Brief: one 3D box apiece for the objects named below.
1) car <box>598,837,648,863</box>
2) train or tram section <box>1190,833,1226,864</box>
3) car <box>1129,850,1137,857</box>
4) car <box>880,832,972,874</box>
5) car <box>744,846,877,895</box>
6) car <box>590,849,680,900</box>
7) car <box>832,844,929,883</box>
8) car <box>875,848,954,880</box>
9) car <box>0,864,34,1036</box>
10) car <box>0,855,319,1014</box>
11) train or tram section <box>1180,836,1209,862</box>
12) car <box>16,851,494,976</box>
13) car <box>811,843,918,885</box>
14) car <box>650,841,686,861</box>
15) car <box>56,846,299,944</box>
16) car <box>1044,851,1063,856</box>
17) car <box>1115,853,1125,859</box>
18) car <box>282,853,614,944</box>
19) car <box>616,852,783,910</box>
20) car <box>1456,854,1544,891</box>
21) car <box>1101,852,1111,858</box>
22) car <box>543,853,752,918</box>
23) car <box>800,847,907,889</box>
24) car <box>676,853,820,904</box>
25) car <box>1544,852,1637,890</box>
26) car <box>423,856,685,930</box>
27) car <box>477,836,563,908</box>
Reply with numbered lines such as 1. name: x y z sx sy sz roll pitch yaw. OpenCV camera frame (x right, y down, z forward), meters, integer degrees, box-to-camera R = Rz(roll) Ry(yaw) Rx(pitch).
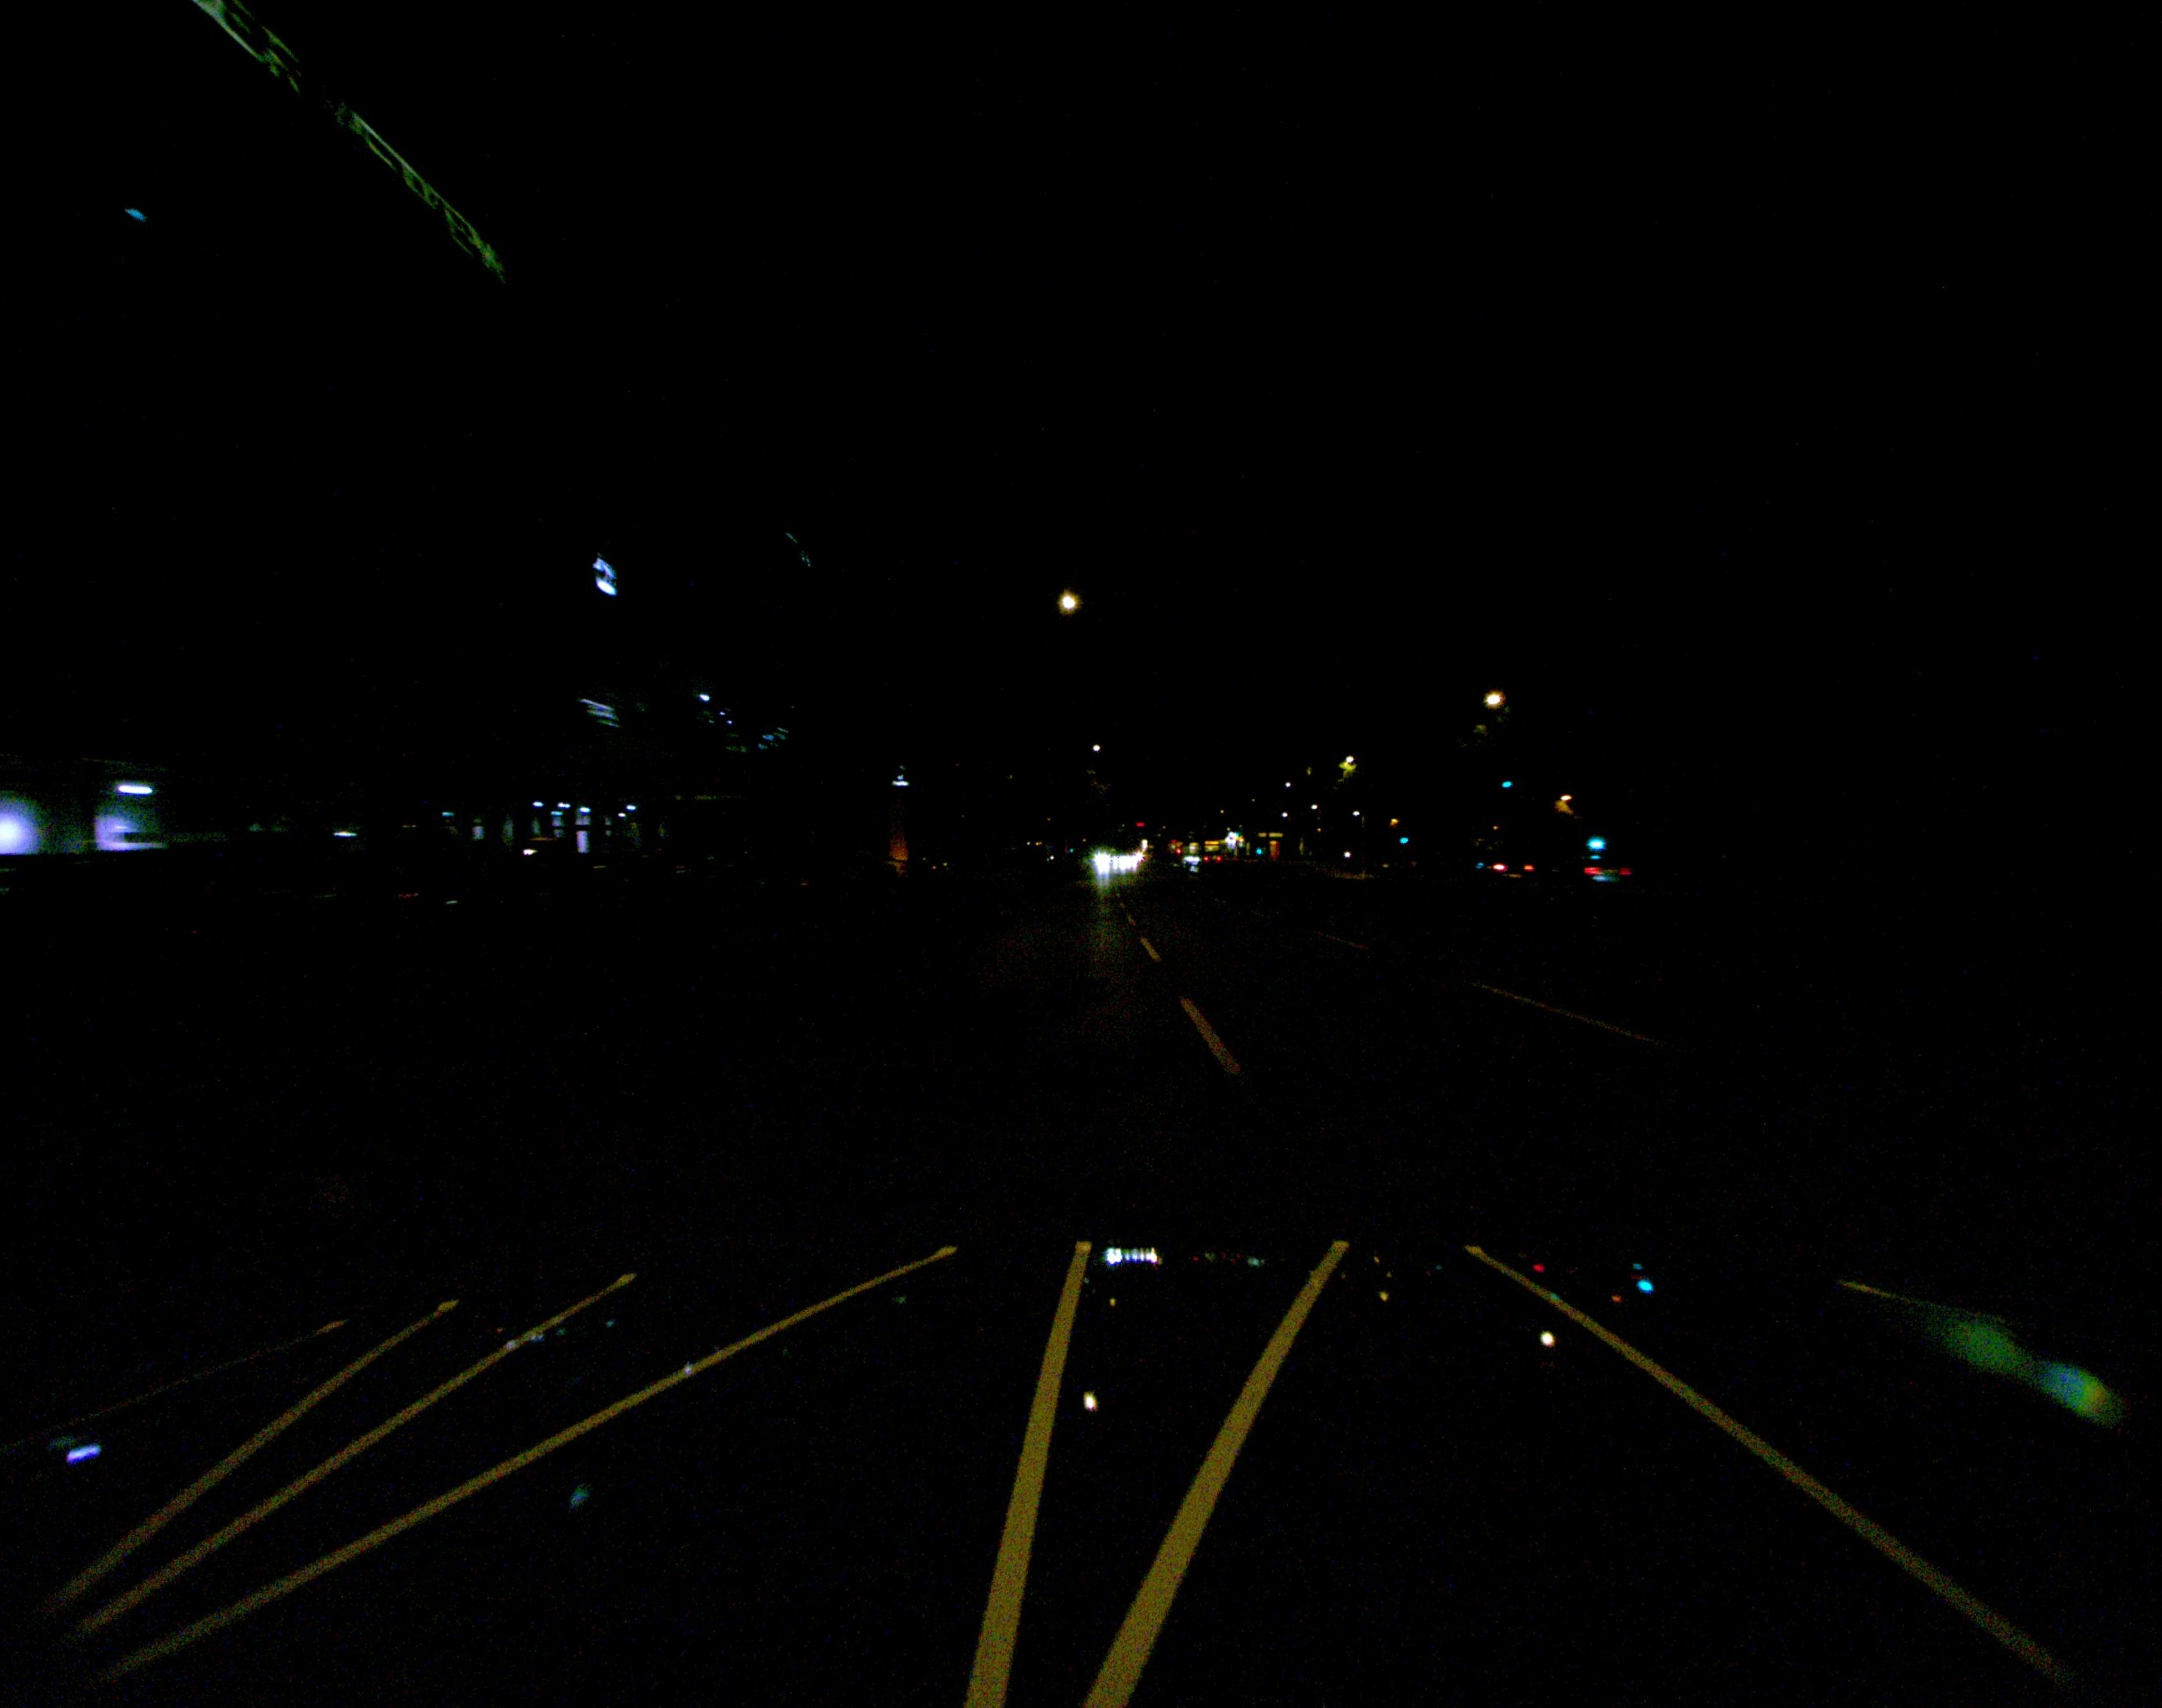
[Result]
1. car: -30.733 -0.310 51.088 2.002 1.652 4.659 -2 1 -21
2. train or tram section: 17.282 -0.722 104.940 2.765 3.805 18.673 -1 0 3
3. car: 12.048 -0.125 175.836 1.907 1.608 3.719 -1 1 3
4. car: -10.834 -0.045 53.095 6.041 2.514 2.280 4 -1 -15
5. car: -10.283 0.612 29.165 4.475 1.538 1.768 3 1 -8
6. car: -14.757 0.610 25.052 1.997 1.521 3.988 1 0 -39
7. car: -9.976 0.474 38.183 4.475 1.799 1.998 1 0 -9
8. car: -9.411 0.543 43.191 4.216 1.653 1.959 2 0 -9
9. car: -10.628 0.814 5.027 4.002 1.415 1.907 -1 0 -16
10. car: -10.619 0.783 7.737 3.617 1.425 1.676 -2 1 -22
11. train or tram section: 18.314 -0.827 123.946 2.744 3.823 19.366 -1 0 3
12. car: -10.773 0.731 10.335 4.003 1.461 1.830 1 0 -18
13. car: -9.967 0.464 35.348 4.475 1.677 1.998 3 0 -9
14. car: -28.035 -0.227 51.686 1.659 1.328 3.871 1 1 -21
15. car: -15.637 0.620 13.428 1.629 1.456 3.785 -1 0 -31
16. car: -6.007 -0.070 166.782 4.008 1.028 1.480 1 -1 -39
17. car: 9.166 0.456 178.693 1.858 1.482 3.561 -1 0 8
18. car: -10.603 0.716 13.130 4.004 1.383 1.823 1 -1 -20
19. car: -10.521 0.742 21.223 3.781 1.371 1.714 3 0 -12
20. car: 19.644 0.804 35.831 1.789 1.488 4.172 -1 2 -2
21. car: 5.844 0.178 175.447 1.947 1.299 3.908 1 0 8
22. car: -10.435 0.751 18.618 4.038 1.365 1.823 3 0 -14
23. car: -9.627 0.588 32.408 4.094 1.559 1.853 3 0 -9
24. car: -10.332 0.749 23.844 3.815 1.444 1.715 2 0 -12
25. car: 22.509 0.707 33.757 1.664 1.508 3.911 -1 1 3
26. car: -10.627 0.771 15.617 4.000 1.373 1.807 2 0 -9
27. car: -16.746 0.482 22.821 1.838 1.907 4.815 -2 1 -35
